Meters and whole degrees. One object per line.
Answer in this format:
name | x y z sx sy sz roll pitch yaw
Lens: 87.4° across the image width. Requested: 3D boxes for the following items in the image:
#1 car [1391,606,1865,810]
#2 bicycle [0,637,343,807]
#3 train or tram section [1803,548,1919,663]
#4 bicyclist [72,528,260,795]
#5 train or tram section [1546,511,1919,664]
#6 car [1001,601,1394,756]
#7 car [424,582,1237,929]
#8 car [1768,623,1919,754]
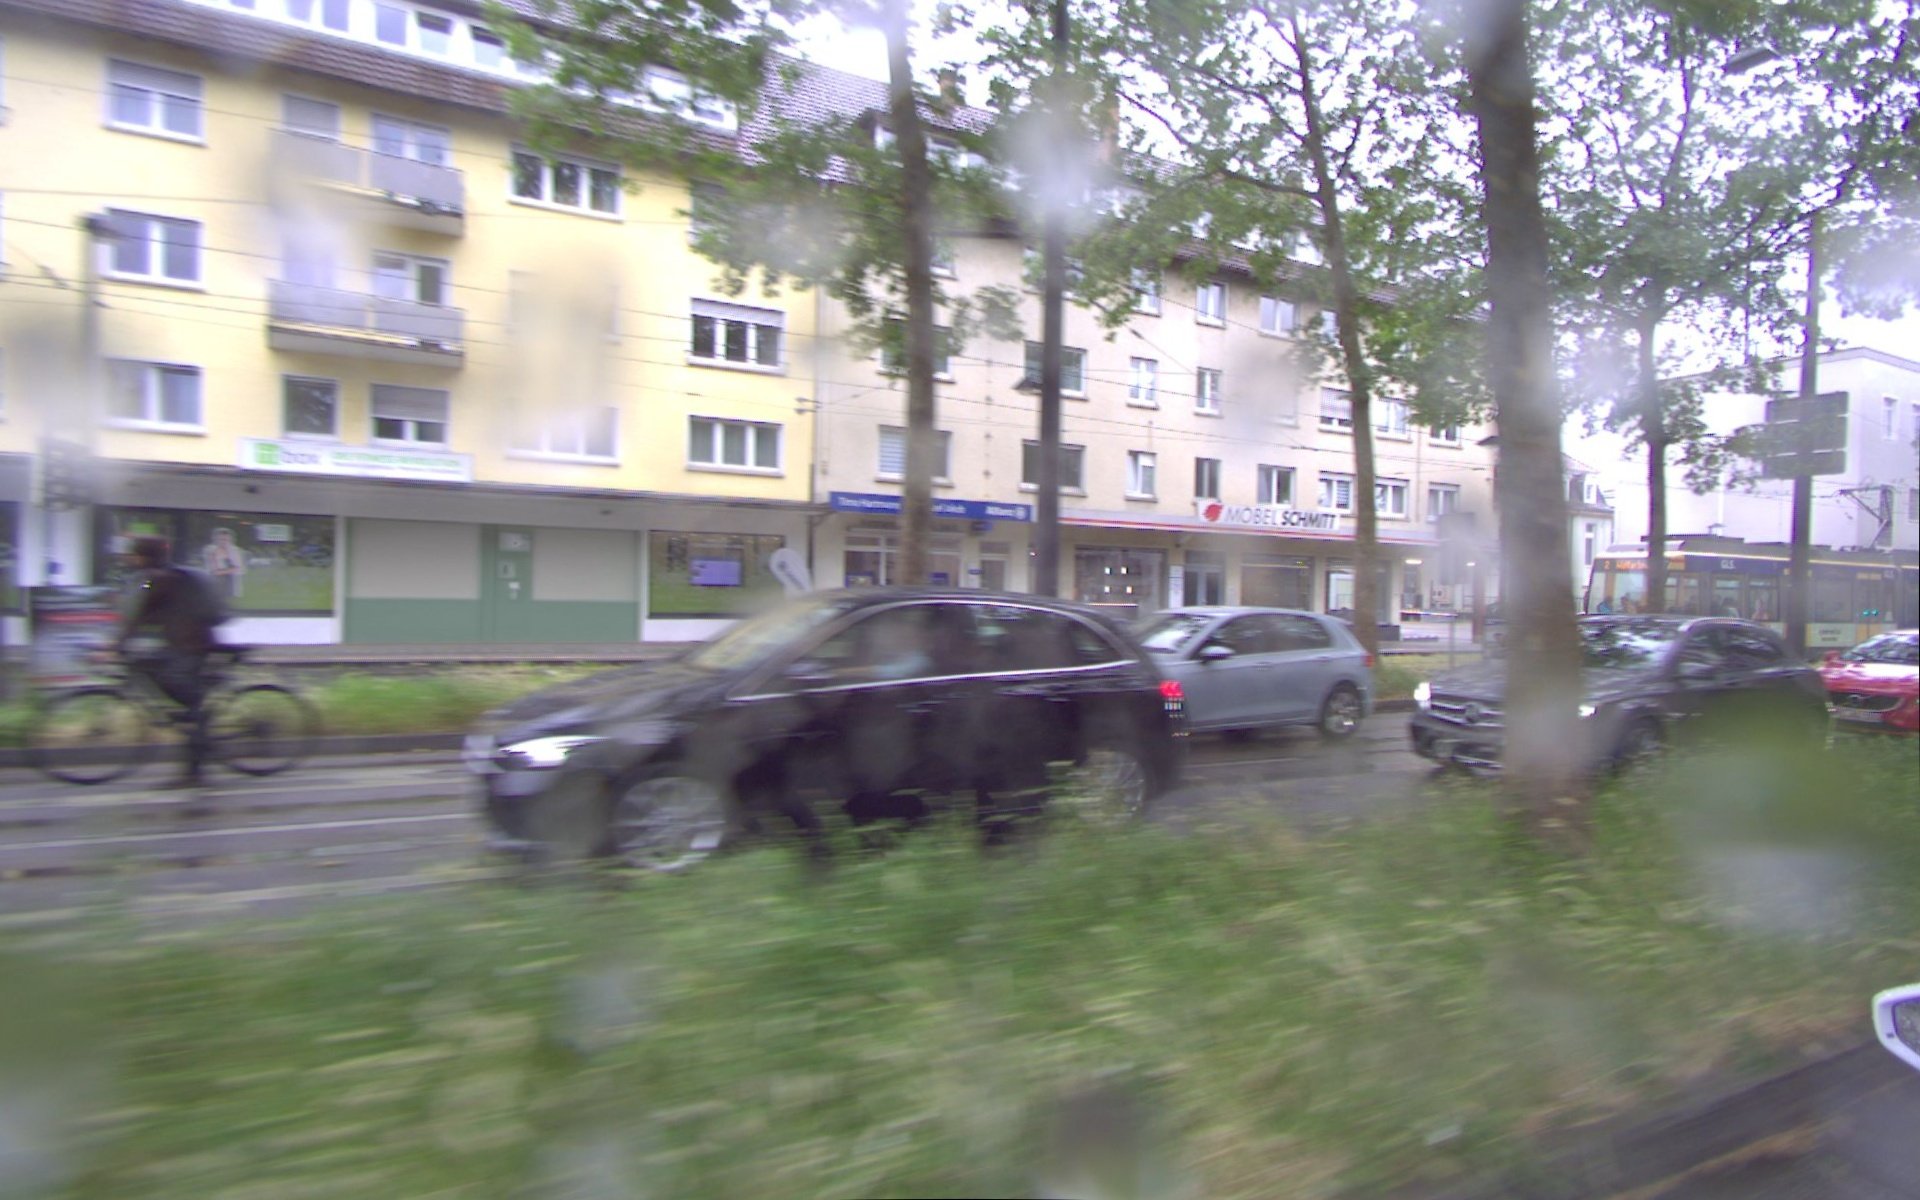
car | 6.269 0.854 9.352 4.374 1.500 1.735 1 1 -27
bicycle | -5.468 0.819 7.125 1.795 1.045 0.714 3 0 -30
train or tram section | 35.841 0.459 36.219 14.492 3.605 3.093 3 -1 -28
bicyclist | -5.544 0.414 7.074 0.879 1.739 0.709 2 0 -30
train or tram section | 23.099 -0.099 29.424 14.396 3.605 3.093 3 -1 -28
car | 2.662 0.771 11.127 4.076 1.416 1.735 1 1 -27
car | -0.685 0.694 6.234 4.580 1.505 1.850 1 1 -27
car | 12.374 1.042 12.749 4.178 1.416 1.735 1 1 -27
